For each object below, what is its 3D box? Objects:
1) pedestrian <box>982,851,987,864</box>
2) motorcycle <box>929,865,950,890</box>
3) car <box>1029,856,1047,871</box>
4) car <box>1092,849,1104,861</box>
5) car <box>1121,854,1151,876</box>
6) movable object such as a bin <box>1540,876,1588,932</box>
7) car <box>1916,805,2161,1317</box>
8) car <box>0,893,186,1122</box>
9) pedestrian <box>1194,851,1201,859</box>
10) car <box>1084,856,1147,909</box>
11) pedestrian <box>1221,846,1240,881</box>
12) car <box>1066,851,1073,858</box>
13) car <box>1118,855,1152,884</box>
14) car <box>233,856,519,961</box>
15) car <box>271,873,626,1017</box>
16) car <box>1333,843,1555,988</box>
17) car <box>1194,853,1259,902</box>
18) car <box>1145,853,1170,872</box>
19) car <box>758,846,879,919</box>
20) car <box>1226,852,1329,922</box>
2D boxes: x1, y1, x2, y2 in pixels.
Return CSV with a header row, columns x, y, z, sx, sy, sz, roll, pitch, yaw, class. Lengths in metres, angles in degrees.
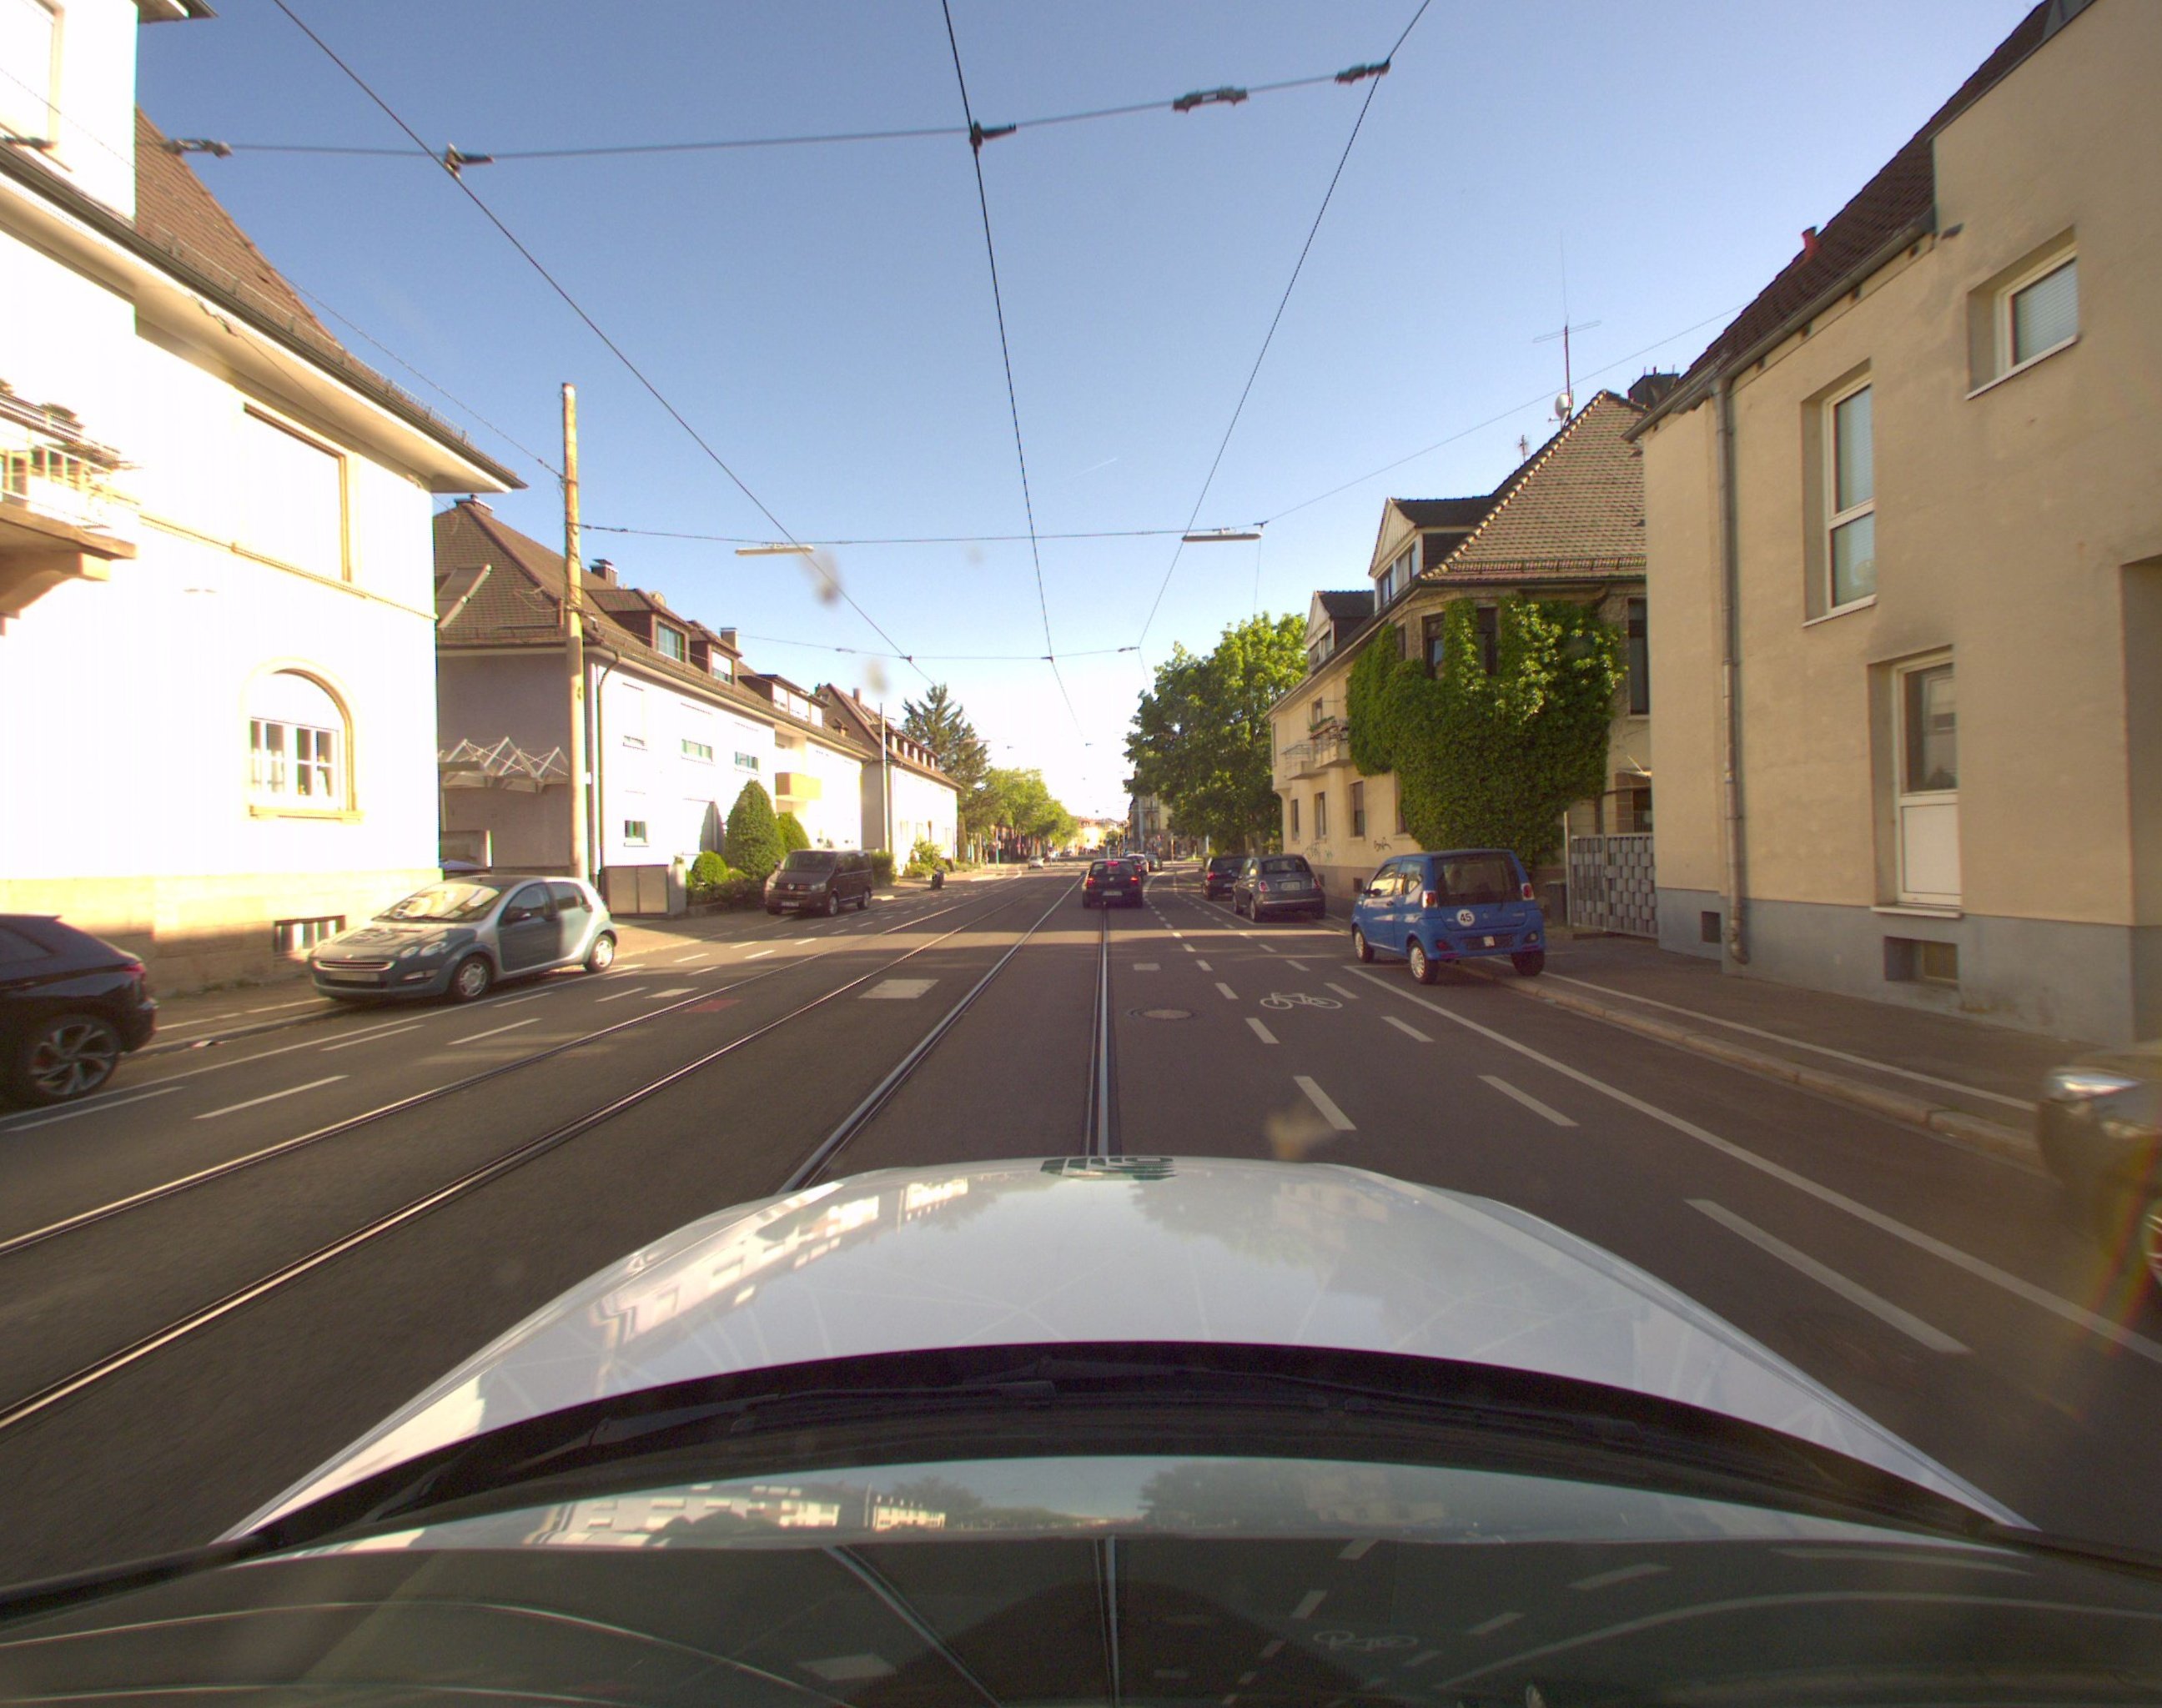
x,y,z,sx,sy,sz,roll,pitch,yaw,class
-12.811,0.468,108.092,0.610,1.689,0.729,1,0,-17,pedestrian
-7.035,1.173,40.679,0.534,1.162,2.173,-3,0,2,motorcycle
-4.328,0.952,82.339,1.569,1.477,3.442,-2,0,2,car
2.779,0.199,133.668,1.781,1.860,4.000,1,0,0,car
3.836,0.751,56.386,1.730,1.441,3.818,-1,0,8,car
8.381,0.857,14.146,0.491,0.916,0.514,-2,0,-1,movable object such as a bin
4.249,0.654,1.094,1.739,1.599,4.433,0,0,0,car
-8.039,1.076,4.451,1.658,1.477,4.247,-1,0,-2,car
18.702,0.166,131.074,0.976,1.187,0.743,-1,0,1,pedestrian
0.997,0.783,24.171,1.709,1.402,4.008,0,0,2,car
7.441,0.449,40.500,0.715,1.688,0.870,-3,0,0,pedestrian
-3.587,0.139,251.921,1.967,1.815,4.292,-1,0,-3,car
2.737,0.766,42.035,1.628,1.372,3.759,-2,0,2,car
-13.442,1.003,15.711,3.913,1.783,1.754,-2,0,-1,car
-8.079,1.056,10.936,1.670,1.477,3.837,0,0,2,car
4.540,0.678,10.681,1.452,1.599,3.293,0,0,0,car
4.909,0.761,27.890,1.659,1.564,3.772,0,0,2,car
6.085,0.677,64.885,1.565,1.311,3.646,-2,2,-1,car
-7.893,0.783,25.048,1.898,2.014,4.953,0,0,3,car
4.578,0.710,19.406,1.596,1.525,3.548,0,0,0,car
